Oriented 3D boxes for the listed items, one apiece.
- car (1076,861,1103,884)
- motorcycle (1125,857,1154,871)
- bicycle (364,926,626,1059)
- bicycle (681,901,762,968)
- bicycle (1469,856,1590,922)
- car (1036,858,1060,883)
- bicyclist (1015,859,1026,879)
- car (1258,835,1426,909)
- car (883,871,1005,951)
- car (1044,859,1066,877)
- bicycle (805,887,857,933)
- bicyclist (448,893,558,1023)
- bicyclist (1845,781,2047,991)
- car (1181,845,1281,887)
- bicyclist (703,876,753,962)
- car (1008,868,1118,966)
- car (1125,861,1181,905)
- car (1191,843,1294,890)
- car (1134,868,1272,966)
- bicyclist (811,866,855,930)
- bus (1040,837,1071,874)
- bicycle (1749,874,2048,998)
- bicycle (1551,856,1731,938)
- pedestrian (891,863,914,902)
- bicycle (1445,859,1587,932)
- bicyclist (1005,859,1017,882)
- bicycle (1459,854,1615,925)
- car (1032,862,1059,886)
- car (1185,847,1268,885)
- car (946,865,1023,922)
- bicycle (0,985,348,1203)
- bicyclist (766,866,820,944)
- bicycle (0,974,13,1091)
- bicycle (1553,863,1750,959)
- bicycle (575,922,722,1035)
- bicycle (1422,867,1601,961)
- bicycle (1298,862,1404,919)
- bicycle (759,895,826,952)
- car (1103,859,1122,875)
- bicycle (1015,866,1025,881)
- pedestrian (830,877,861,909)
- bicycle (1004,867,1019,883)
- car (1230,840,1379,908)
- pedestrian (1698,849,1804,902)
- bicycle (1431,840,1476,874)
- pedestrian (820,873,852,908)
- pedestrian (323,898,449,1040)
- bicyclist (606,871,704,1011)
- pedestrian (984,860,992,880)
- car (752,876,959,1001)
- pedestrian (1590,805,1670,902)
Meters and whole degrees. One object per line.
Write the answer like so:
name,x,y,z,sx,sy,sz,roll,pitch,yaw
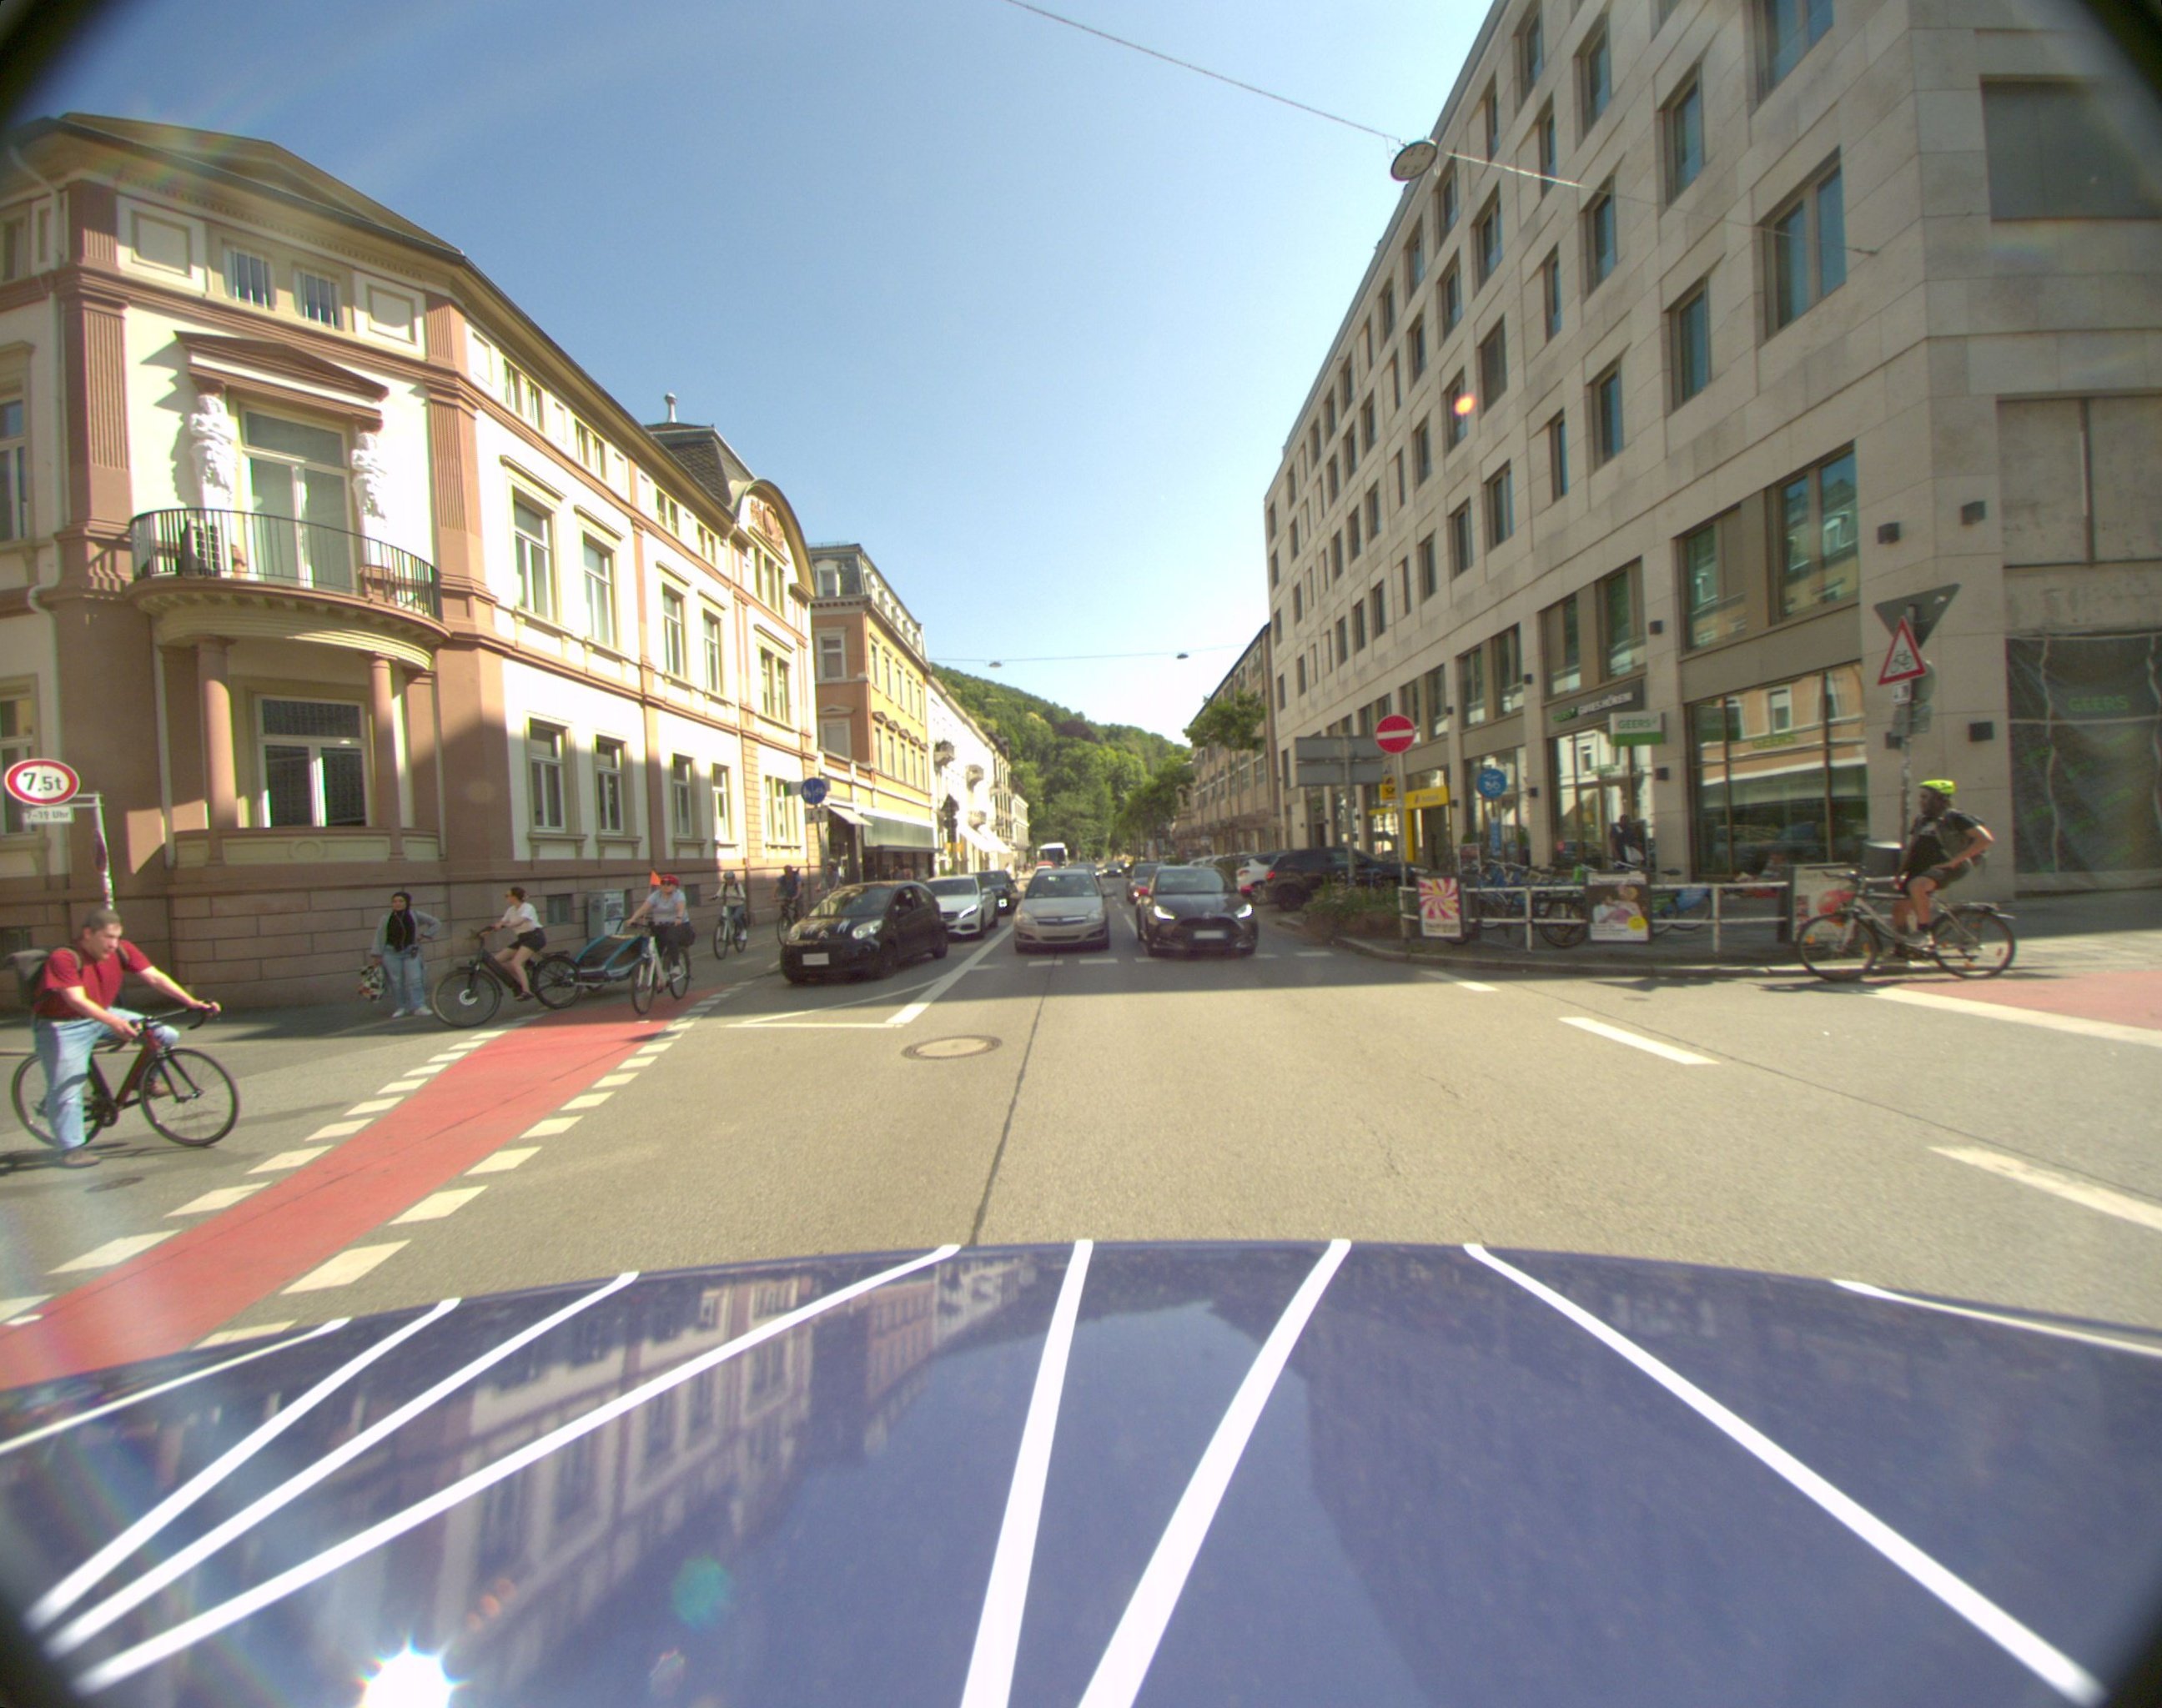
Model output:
car,0.583,1.218,51.258,1.775,1.469,4.107,-1,-1,1
motorcycle,6.143,1.048,79.824,0.980,1.342,3.095,-2,0,-42
bicycle,-7.365,1.665,9.907,0.750,1.120,3.241,-1,0,3
bicycle,-7.027,1.537,14.946,0.607,1.120,1.860,-1,0,3
bicycle,8.466,0.669,14.420,1.862,1.120,0.485,-5,-1,26
car,-2.814,1.393,65.219,1.703,1.900,4.607,-7,-1,-1
bicyclist,-5.032,1.235,63.025,0.747,1.564,0.844,-2,1,2
car,7.093,0.493,20.618,4.026,1.593,1.961,-5,1,24
car,-3.106,1.244,18.356,1.957,1.416,4.886,-5,0,0
car,-2.394,1.271,70.229,1.868,1.478,4.414,-3,0,-1
bicycle,-6.985,1.550,21.321,0.748,1.111,1.918,-4,0,-1
bicyclist,-7.373,1.297,9.730,0.747,1.563,0.845,-1,-2,2
bicyclist,8.669,0.310,7.673,0.843,1.948,1.017,-3,1,7
car,7.520,0.607,38.028,4.493,1.424,1.865,-8,0,21
bicyclist,-6.981,1.268,15.069,0.516,1.626,0.844,-2,1,2
car,-0.346,1.107,15.055,1.791,1.483,4.367,-3,0,-1
car,2.593,1.003,28.254,1.733,1.389,4.107,-4,0,1
car,7.308,0.583,34.525,4.029,1.584,1.822,-8,0,34
car,1.988,0.994,13.554,1.868,1.469,4.107,1,-1,1
bicyclist,-6.930,1.202,21.261,0.910,1.707,0.844,-2,1,-1
bus,-2.592,0.083,81.116,2.924,3.515,12.498,-2,0,-1
bicycle,8.278,0.818,7.792,1.990,1.120,0.800,-3,0,8
bicycle,8.298,0.654,11.384,2.059,1.120,0.648,-3,0,27
pedestrian,-8.356,1.321,35.622,0.840,1.781,0.767,-2,1,2
bicycle,7.579,0.740,13.360,2.060,1.120,0.563,-5,-1,26
bicyclist,-5.210,1.222,56.686,0.747,1.693,1.036,-2,1,2
bicycle,8.260,0.662,13.890,2.324,1.120,0.563,-5,0,26
car,-2.742,1.539,59.511,1.799,1.515,4.263,-6,1,-1
car,7.793,0.623,41.022,3.997,1.519,1.820,-6,2,0
car,-3.142,1.248,25.632,1.891,1.483,4.289,-5,1,0
bicycle,-6.334,1.519,4.851,2.572,1.120,0.628,-3,0,-3
bicyclist,-6.578,1.145,17.400,0.840,1.707,0.844,-2,1,2
bicycle,-11.512,1.749,7.178,2.076,1.120,0.573,-1,0,1
bicycle,7.627,0.735,10.256,2.059,1.162,0.606,-2,1,38
bicycle,-5.610,1.565,10.030,0.737,1.120,2.033,-4,0,-1
bicycle,6.037,0.820,10.758,0.606,1.166,2.059,-5,1,-44
bicycle,6.128,0.824,17.272,2.145,1.120,0.485,-5,-1,2
bicycle,-6.550,1.554,17.359,0.664,1.111,1.992,-2,0,3
car,3.092,1.253,74.660,1.733,1.389,4.107,-3,0,1
bicycle,-5.052,1.574,63.167,0.596,1.120,2.093,-1,2,3
pedestrian,-9.779,1.610,31.529,1.088,1.308,0.625,0,0,0
bicycle,-5.199,1.554,56.689,0.743,1.120,2.574,-1,1,3
car,6.928,0.604,24.032,4.166,1.627,2.103,-7,0,10
pedestrian,12.741,0.397,14.487,1.252,0.920,0.841,-3,0,0
bicycle,13.247,0.099,27.066,0.497,1.100,2.161,-5,0,1
pedestrian,-9.851,1.464,30.537,1.032,1.308,0.625,-2,0,0
pedestrian,-8.980,1.444,9.879,0.904,1.603,0.974,-3,4,-27
bicyclist,-5.620,1.116,10.076,0.684,1.707,0.844,-4,1,0
pedestrian,-8.093,1.375,65.985,0.482,1.659,0.868,-2,0,1
car,-3.454,1.242,12.408,1.631,1.470,3.733,-3,1,10
pedestrian,11.321,-0.017,15.699,0.840,1.868,0.844,-7,1,2
